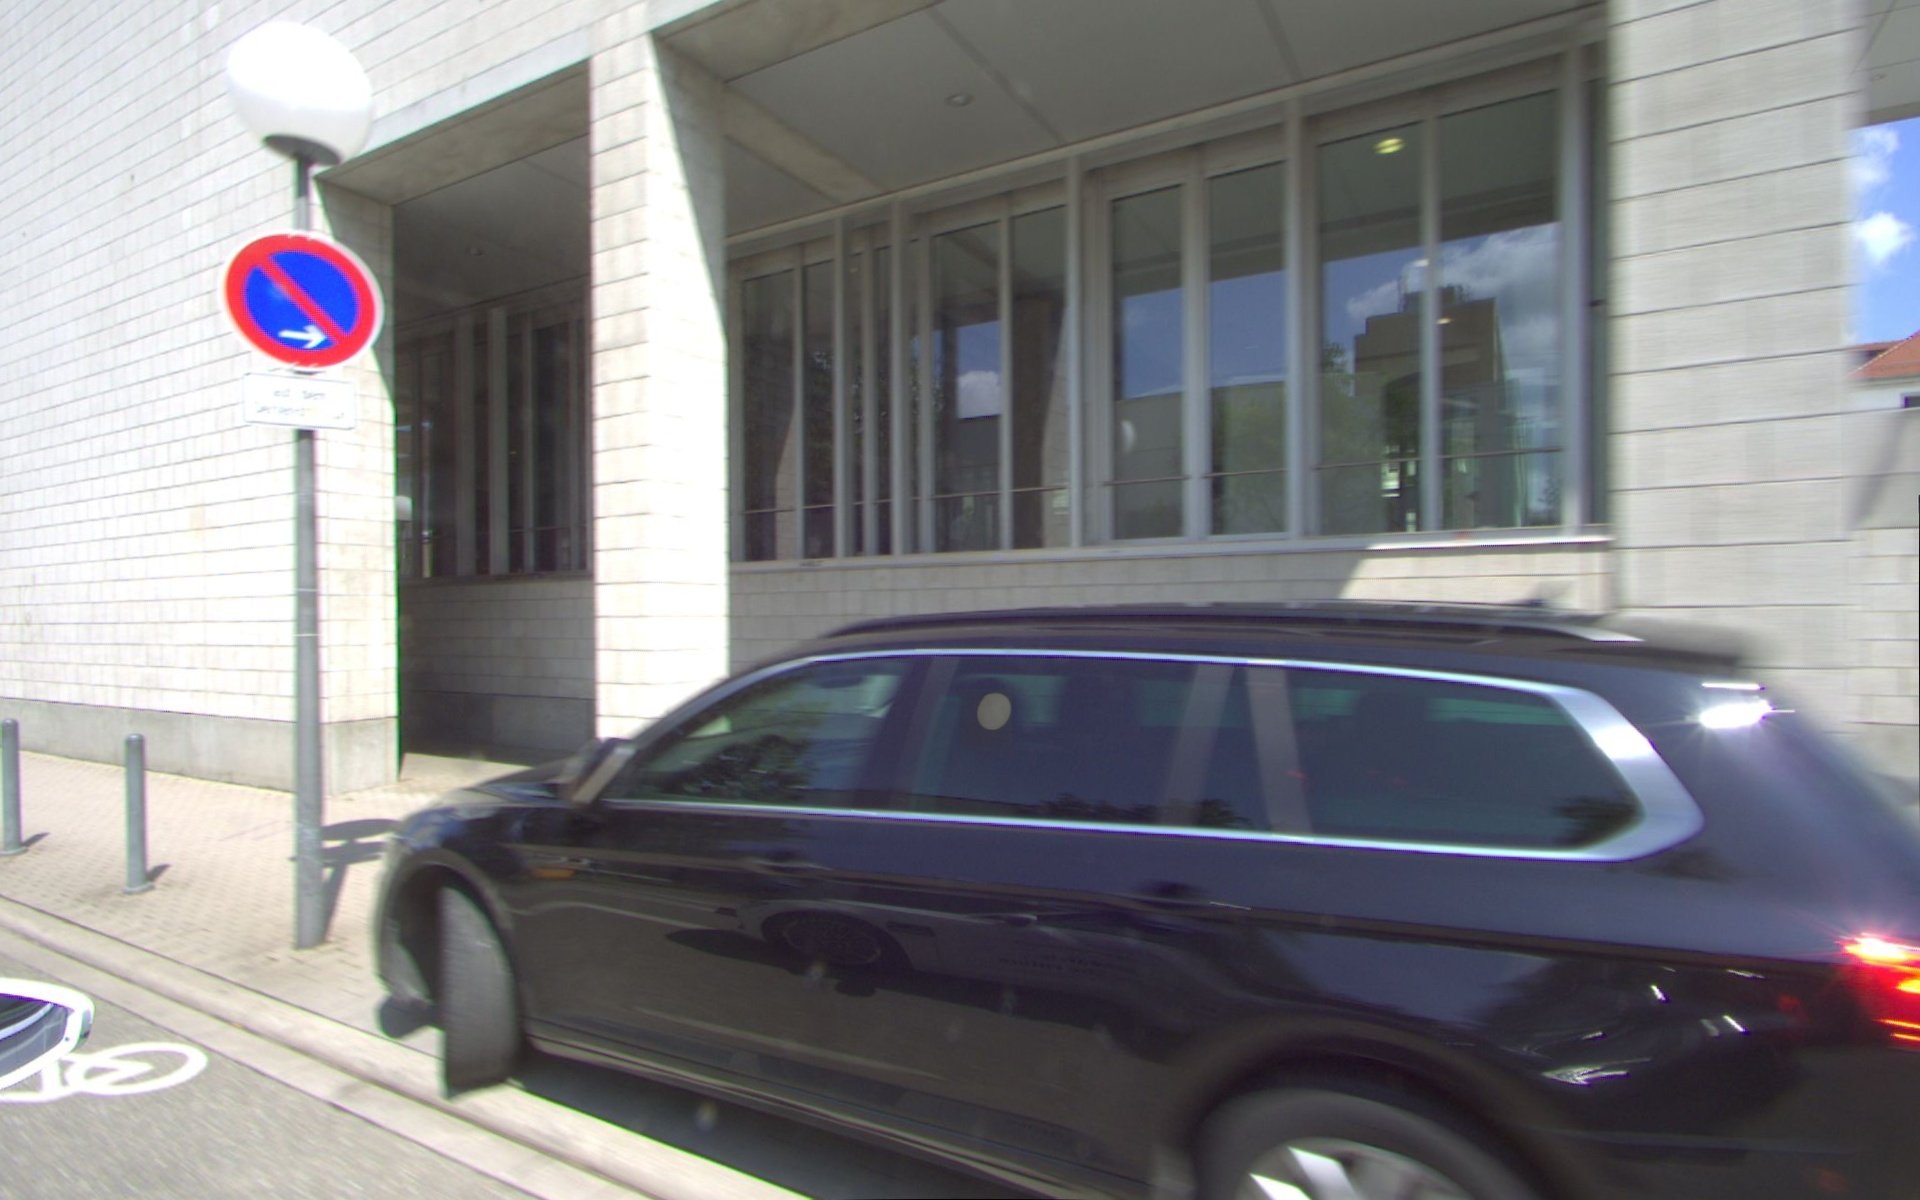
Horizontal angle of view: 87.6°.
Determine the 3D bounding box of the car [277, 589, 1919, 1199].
[{"bbox_3d":[0.001,0.764,3.165,4.453,1.483,1.864,-1,-1,30],"label":"car"}]
